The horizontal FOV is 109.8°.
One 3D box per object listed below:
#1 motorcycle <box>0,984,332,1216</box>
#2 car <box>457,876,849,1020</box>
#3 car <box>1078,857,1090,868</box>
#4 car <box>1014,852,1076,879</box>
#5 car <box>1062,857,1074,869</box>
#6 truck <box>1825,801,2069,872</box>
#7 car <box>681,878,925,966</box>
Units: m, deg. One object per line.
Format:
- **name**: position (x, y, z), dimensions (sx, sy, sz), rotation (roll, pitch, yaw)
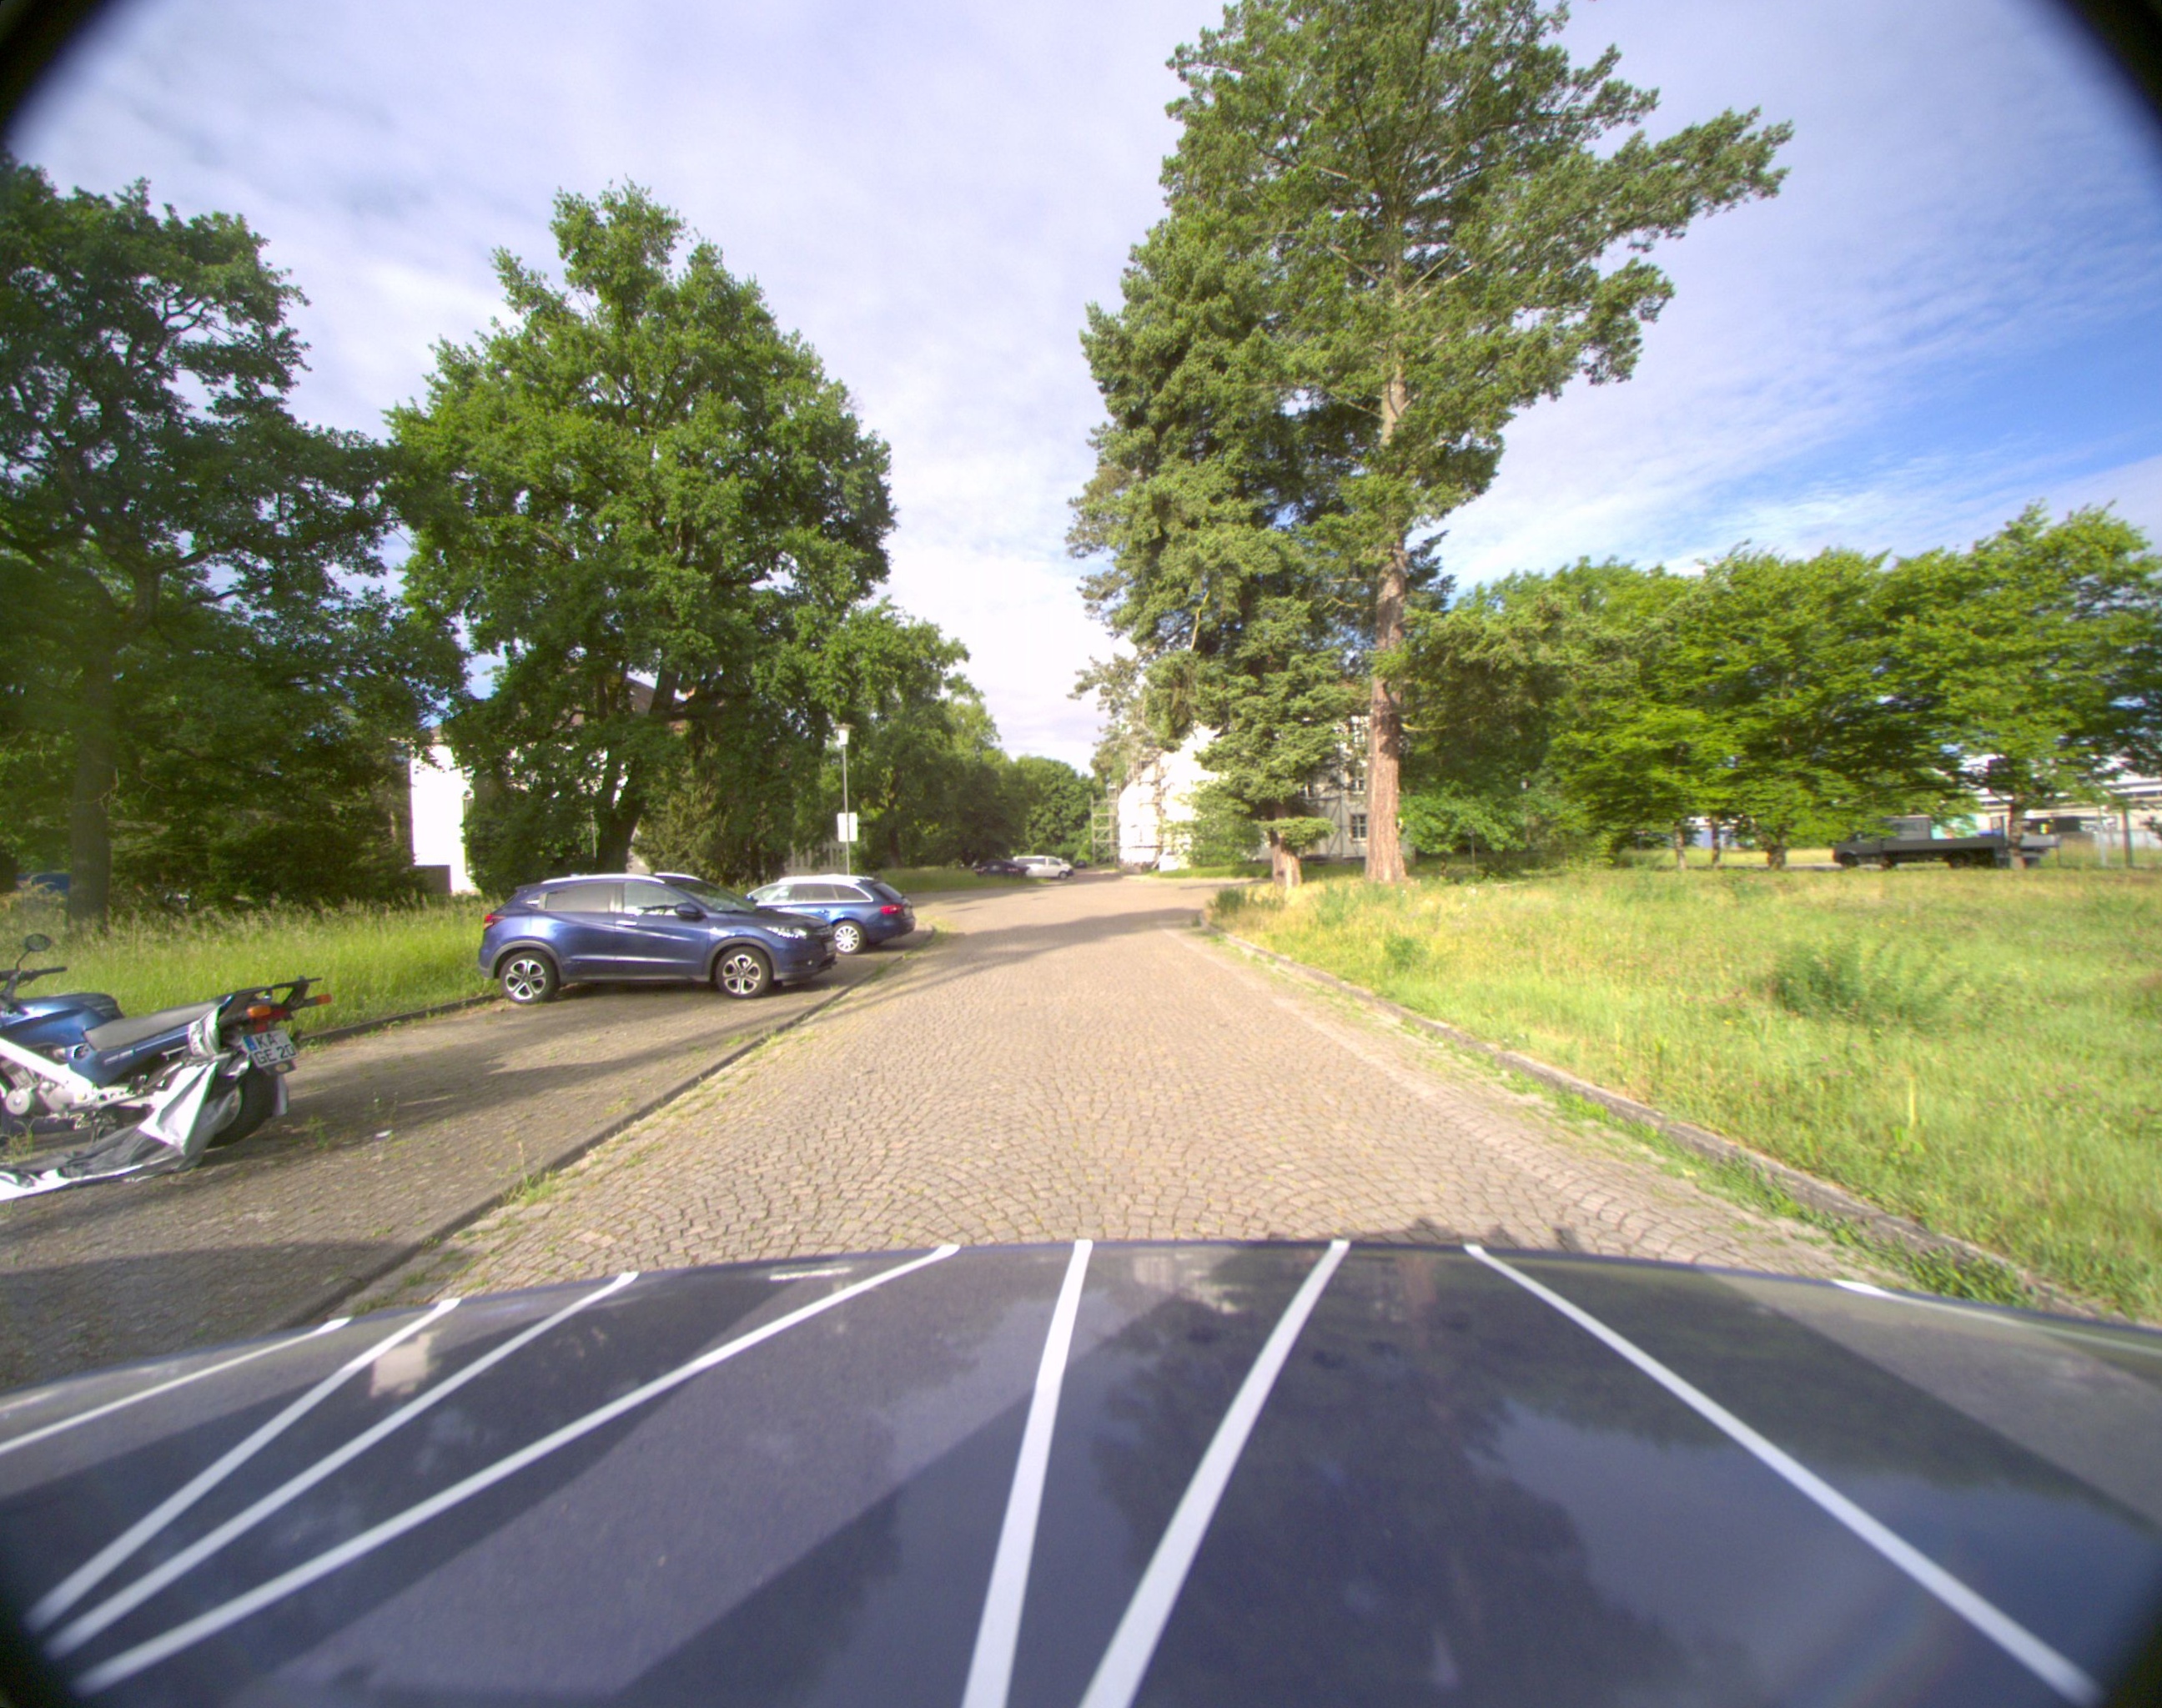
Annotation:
- **motorcycle**: position (-5.742, 1.365, 4.325), dimensions (2.307, 1.107, 0.607), rotation (-1, 1, 0)
- **car**: position (-5.422, 1.161, 10.069), dimensions (4.136, 1.560, 1.746), rotation (-1, 1, -2)
- **car**: position (0.511, 1.482, 130.267), dimensions (1.999, 1.762, 4.108), rotation (-2, 1, -2)
- **car**: position (-3.006, 0.953, 63.814), dimensions (5.079, 2.029, 2.000), rotation (-2, 0, -2)
- **car**: position (-2.212, 1.485, 129.960), dimensions (1.875, 1.888, 3.999), rotation (-2, 1, -2)
- **truck**: position (36.113, -0.643, 32.170), dimensions (2.417, 2.571, 6.958), rotation (-2, 0, 1)
- **car**: position (-5.264, 1.269, 14.774), dimensions (4.036, 1.442, 1.783), rotation (-1, 1, 0)
